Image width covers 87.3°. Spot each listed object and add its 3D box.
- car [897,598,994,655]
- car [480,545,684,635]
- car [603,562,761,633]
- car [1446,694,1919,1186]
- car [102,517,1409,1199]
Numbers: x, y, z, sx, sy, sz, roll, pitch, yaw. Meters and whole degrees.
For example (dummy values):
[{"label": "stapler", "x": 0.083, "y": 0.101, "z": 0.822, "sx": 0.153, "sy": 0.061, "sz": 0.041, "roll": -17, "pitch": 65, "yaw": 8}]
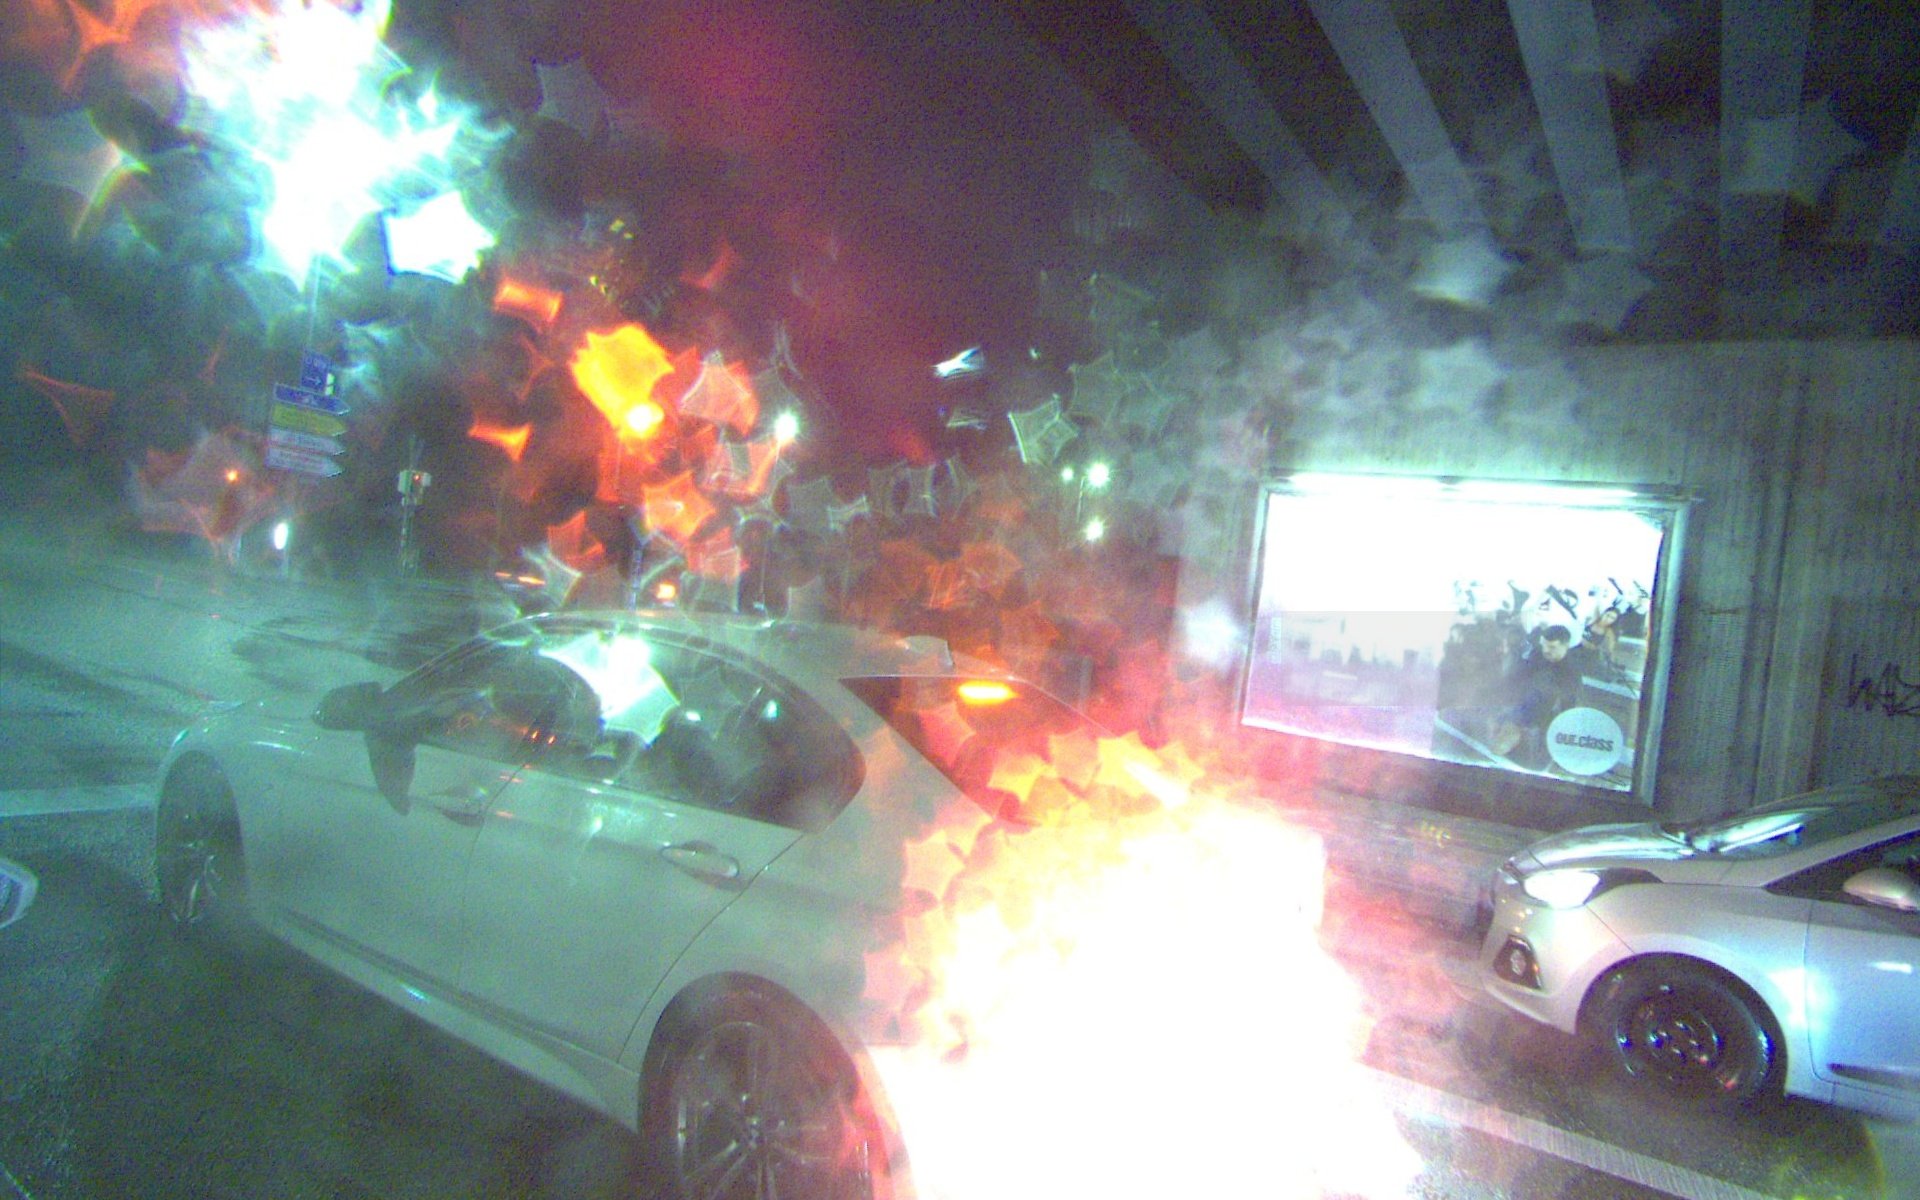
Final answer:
[{"label": "car", "x": -0.508, "y": 1.058, "z": 38.700, "sx": 1.696, "sy": 1.754, "sz": 3.755, "roll": 6, "pitch": -2, "yaw": 35}, {"label": "car", "x": -9.408, "y": -0.187, "z": 25.393, "sx": 1.927, "sy": 1.692, "sz": 4.409, "roll": 6, "pitch": -2, "yaw": 33}, {"label": "car", "x": -8.634, "y": -0.037, "z": 31.601, "sx": 1.878, "sy": 1.637, "sz": 4.503, "roll": 6, "pitch": -2, "yaw": 35}, {"label": "car", "x": 4.304, "y": 1.405, "z": 3.938, "sx": 4.092, "sy": 1.465, "sz": 1.722, "roll": 6, "pitch": 0, "yaw": 31}, {"label": "car", "x": -0.948, "y": 0.664, "z": 3.492, "sx": 4.309, "sy": 1.465, "sz": 1.722, "roll": 6, "pitch": 0, "yaw": 31}]
